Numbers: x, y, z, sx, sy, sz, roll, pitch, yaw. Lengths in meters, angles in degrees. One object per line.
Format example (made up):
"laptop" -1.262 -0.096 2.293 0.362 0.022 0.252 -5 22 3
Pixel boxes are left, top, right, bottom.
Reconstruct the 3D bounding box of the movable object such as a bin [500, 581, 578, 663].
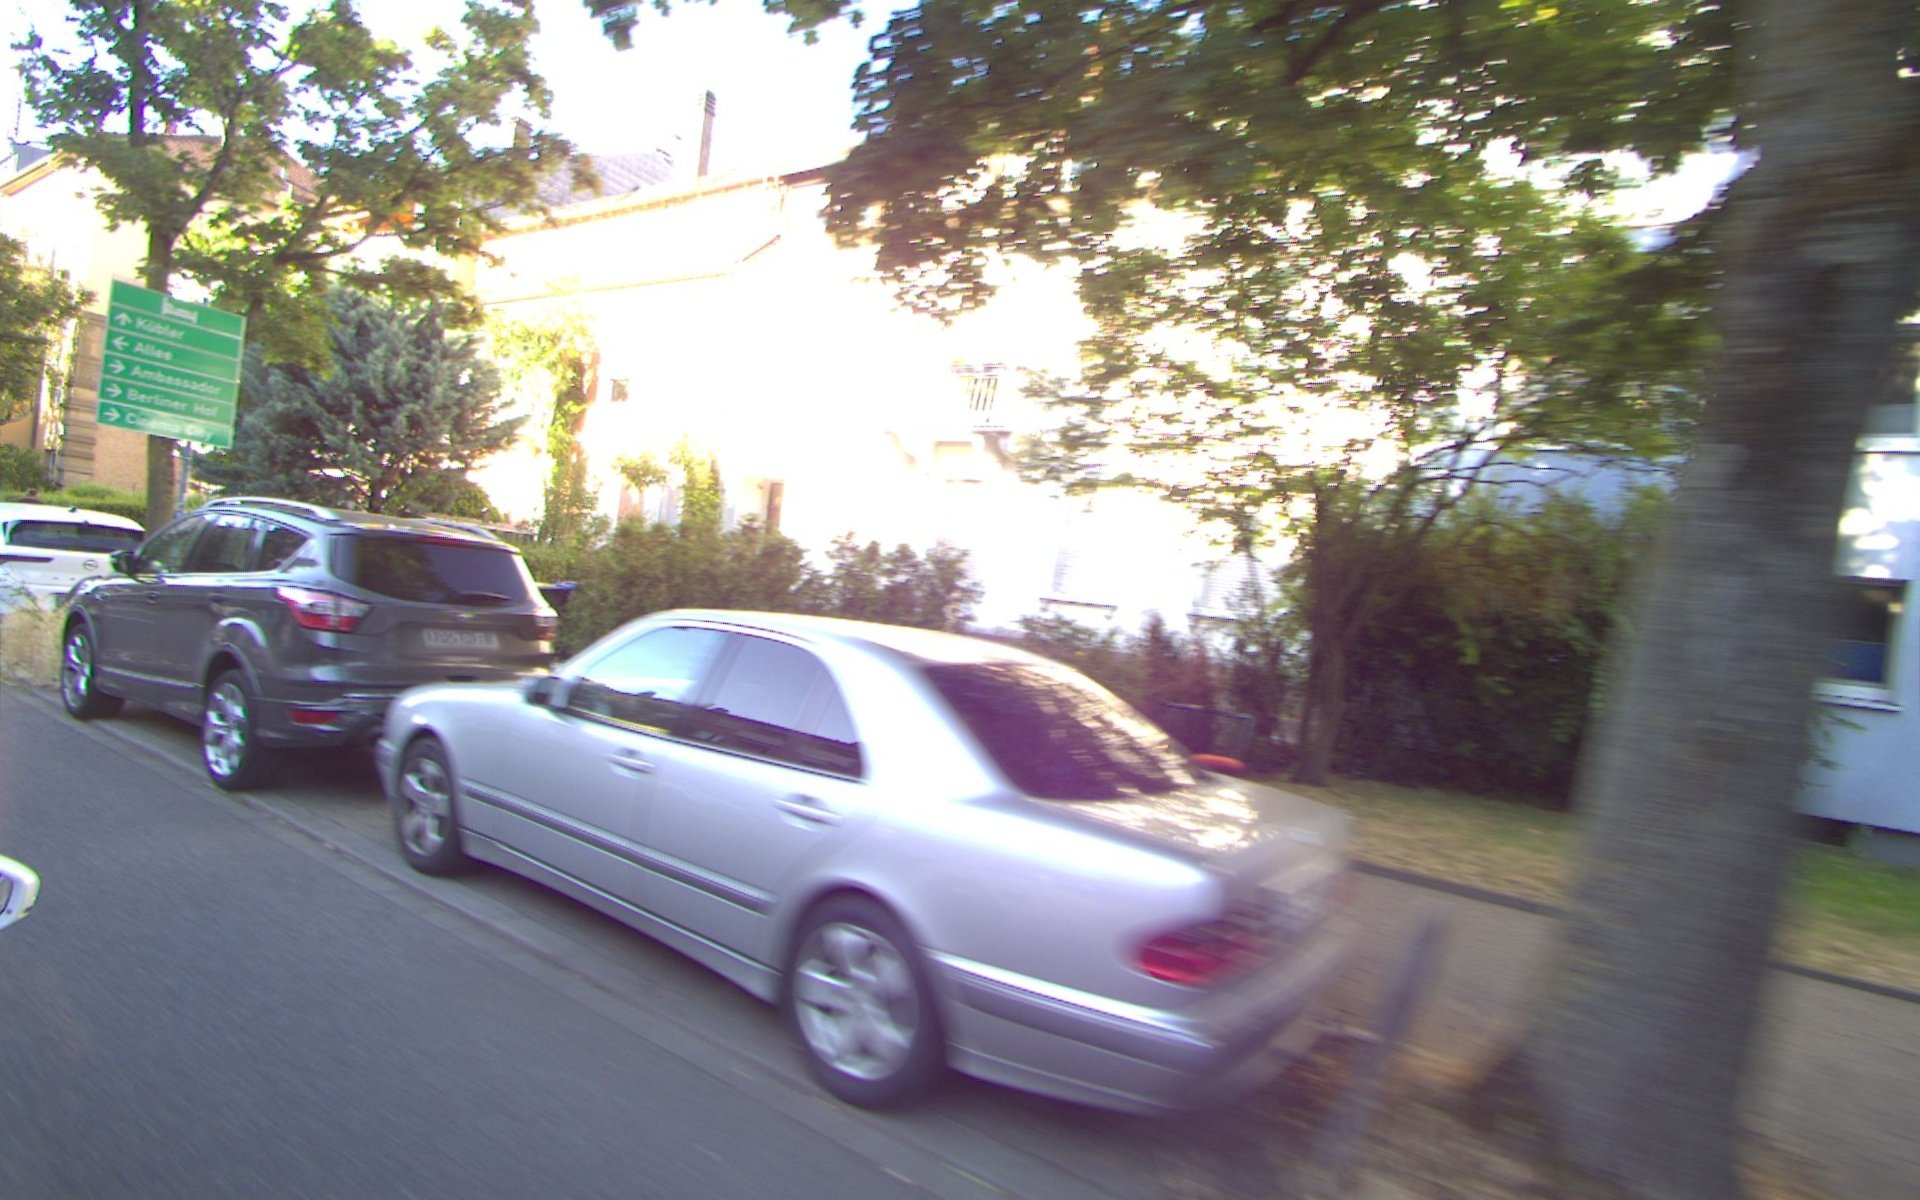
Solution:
"movable object such as a bin" -5.963 0.306 14.254 0.673 1.072 0.724 7 4 34

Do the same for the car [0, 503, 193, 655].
"car" -10.796 -0.354 11.667 4.265 1.420 1.762 7 1 35

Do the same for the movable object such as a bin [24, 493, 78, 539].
"movable object such as a bin" -35.014 -3.229 38.743 0.977 1.575 1.157 7 0 25

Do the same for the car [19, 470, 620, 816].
"car" -4.818 0.113 7.321 4.632 1.703 1.916 7 1 34

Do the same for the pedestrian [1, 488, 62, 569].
"pedestrian" -20.232 -1.545 21.920 0.570 1.636 0.746 7 1 33

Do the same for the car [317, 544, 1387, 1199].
"car" -0.869 0.755 4.554 4.757 1.522 1.784 7 -1 37

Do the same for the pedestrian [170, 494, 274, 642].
"pedestrian" -9.571 -0.412 13.061 0.752 1.802 0.669 5 -4 34

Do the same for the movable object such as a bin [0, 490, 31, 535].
"movable object such as a bin" -35.913 -3.335 37.738 0.977 1.575 1.157 7 0 25
